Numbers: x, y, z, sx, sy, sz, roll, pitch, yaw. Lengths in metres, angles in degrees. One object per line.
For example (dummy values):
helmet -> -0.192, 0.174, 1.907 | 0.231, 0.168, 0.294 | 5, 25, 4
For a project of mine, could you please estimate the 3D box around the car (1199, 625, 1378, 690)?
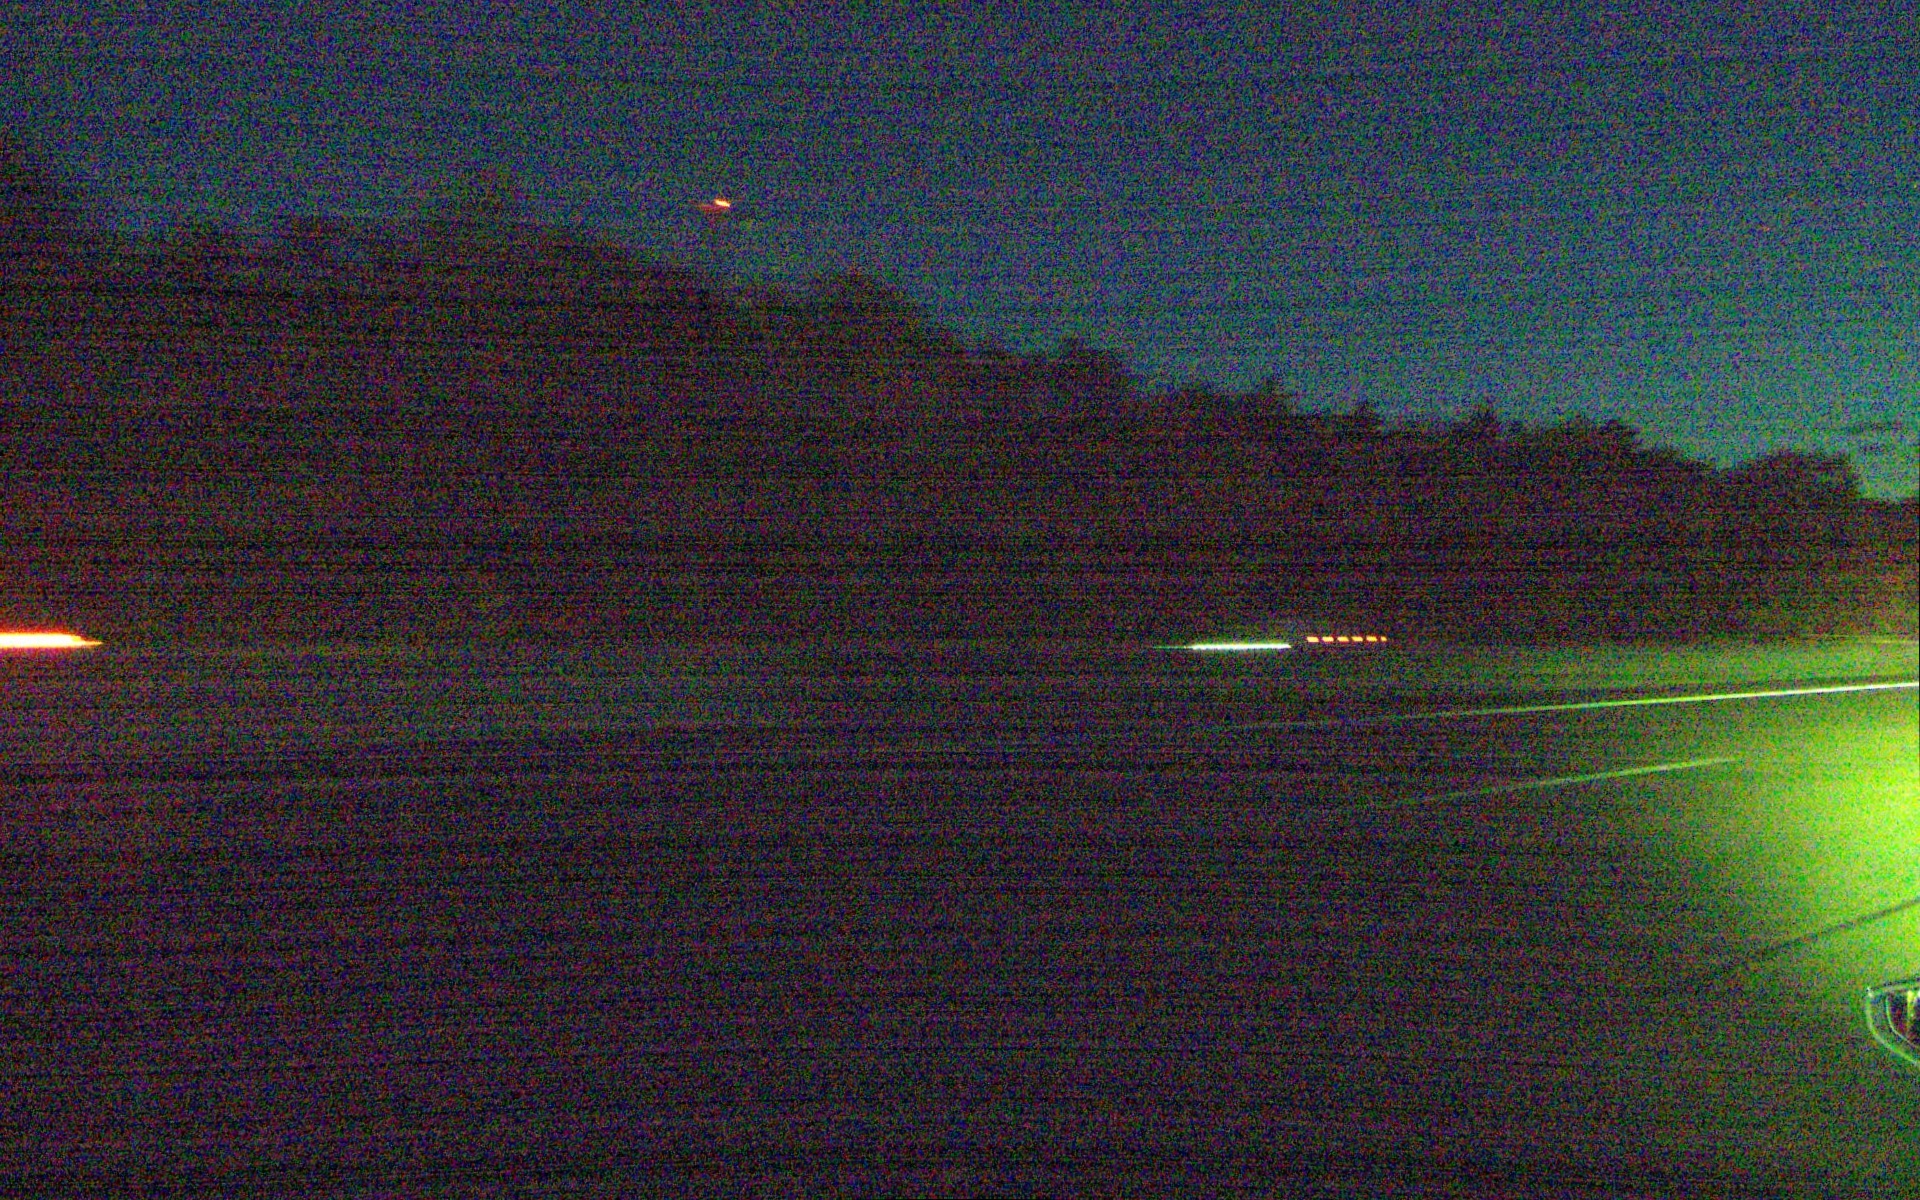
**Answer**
car -> 8.567, 1.456, 26.086 | 4.651, 1.517, 1.852 | 1, -1, -31

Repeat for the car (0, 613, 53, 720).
car -> -17.277, 0.988, 15.139 | 5.021, 1.619, 2.040 | 1, -1, -32
